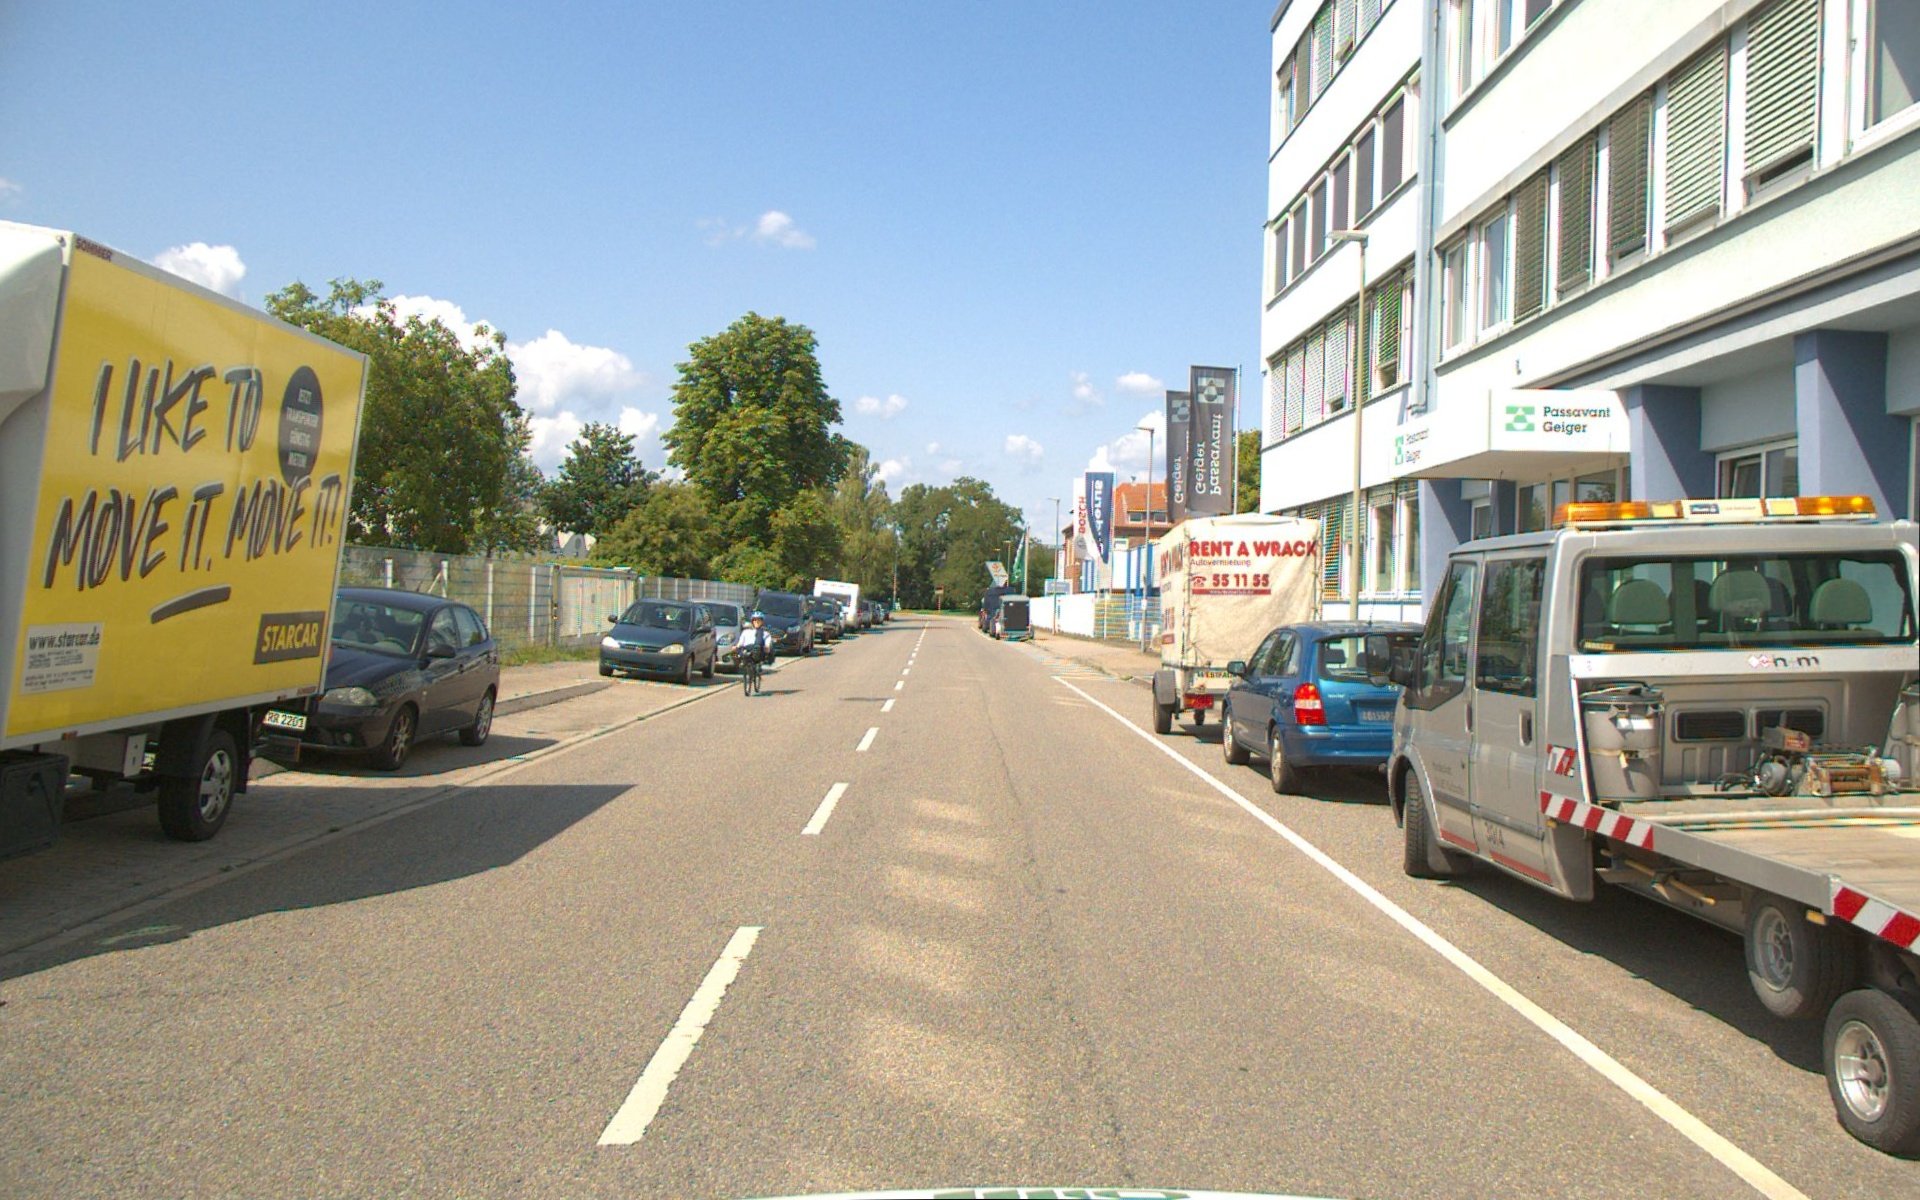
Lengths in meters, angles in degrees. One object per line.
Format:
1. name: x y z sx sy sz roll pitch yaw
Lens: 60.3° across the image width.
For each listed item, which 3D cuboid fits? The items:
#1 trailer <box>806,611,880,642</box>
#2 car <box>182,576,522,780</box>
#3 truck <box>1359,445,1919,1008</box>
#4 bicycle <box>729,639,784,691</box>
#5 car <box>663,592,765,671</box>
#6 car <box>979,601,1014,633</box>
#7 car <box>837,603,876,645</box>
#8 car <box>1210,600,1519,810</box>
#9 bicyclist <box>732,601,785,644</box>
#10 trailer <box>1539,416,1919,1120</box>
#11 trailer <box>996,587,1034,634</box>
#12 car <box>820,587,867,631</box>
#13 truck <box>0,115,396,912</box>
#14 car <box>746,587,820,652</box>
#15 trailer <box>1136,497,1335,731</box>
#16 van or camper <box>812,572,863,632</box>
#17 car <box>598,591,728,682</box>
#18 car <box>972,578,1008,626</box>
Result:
1. trailer: -4.434 0.985 63.861 2.225 0.898 7.132 6 0 0
2. car: -5.439 0.628 15.335 1.587 1.454 3.826 7 0 0
3. truck: 3.640 0.473 8.521 1.924 2.070 4.733 1 0 -1
4. bicycle: -3.330 1.048 27.231 0.575 0.754 2.125 1 0 2
5. car: -5.209 0.623 35.430 1.583 1.509 3.709 3 0 -1
6. car: 1.817 0.851 82.714 1.540 1.534 4.132 1 0 -1
7. car: -4.898 1.106 78.174 1.651 1.721 4.441 5 0 -4
8. car: 3.481 0.827 15.060 1.683 1.569 4.403 2 0 0
9. bicyclist: -3.302 0.360 27.216 0.554 0.642 1.858 2 1 2
10. trailer: 3.709 0.491 4.788 1.933 2.005 5.765 1 0 -1
11. trailer: 2.527 0.479 76.605 1.569 2.073 2.740 2 0 -1
12. car: -5.029 0.381 71.795 1.790 1.825 4.734 1 0 -1
13. truck: -5.256 -0.434 8.476 2.205 3.419 6.905 6 0 -1
14. car: -5.155 0.535 48.693 1.764 1.780 4.712 1 0 -1
15. trailer: 3.366 0.145 21.106 1.830 2.598 5.073 1 0 2
16. van or camper: -6.429 0.087 87.293 2.218 2.852 6.830 5 0 -2
17. car: -5.428 0.631 30.650 1.537 1.423 3.799 6 0 1
18. car: 1.763 0.118 100.283 1.898 2.796 6.153 1 0 -1
